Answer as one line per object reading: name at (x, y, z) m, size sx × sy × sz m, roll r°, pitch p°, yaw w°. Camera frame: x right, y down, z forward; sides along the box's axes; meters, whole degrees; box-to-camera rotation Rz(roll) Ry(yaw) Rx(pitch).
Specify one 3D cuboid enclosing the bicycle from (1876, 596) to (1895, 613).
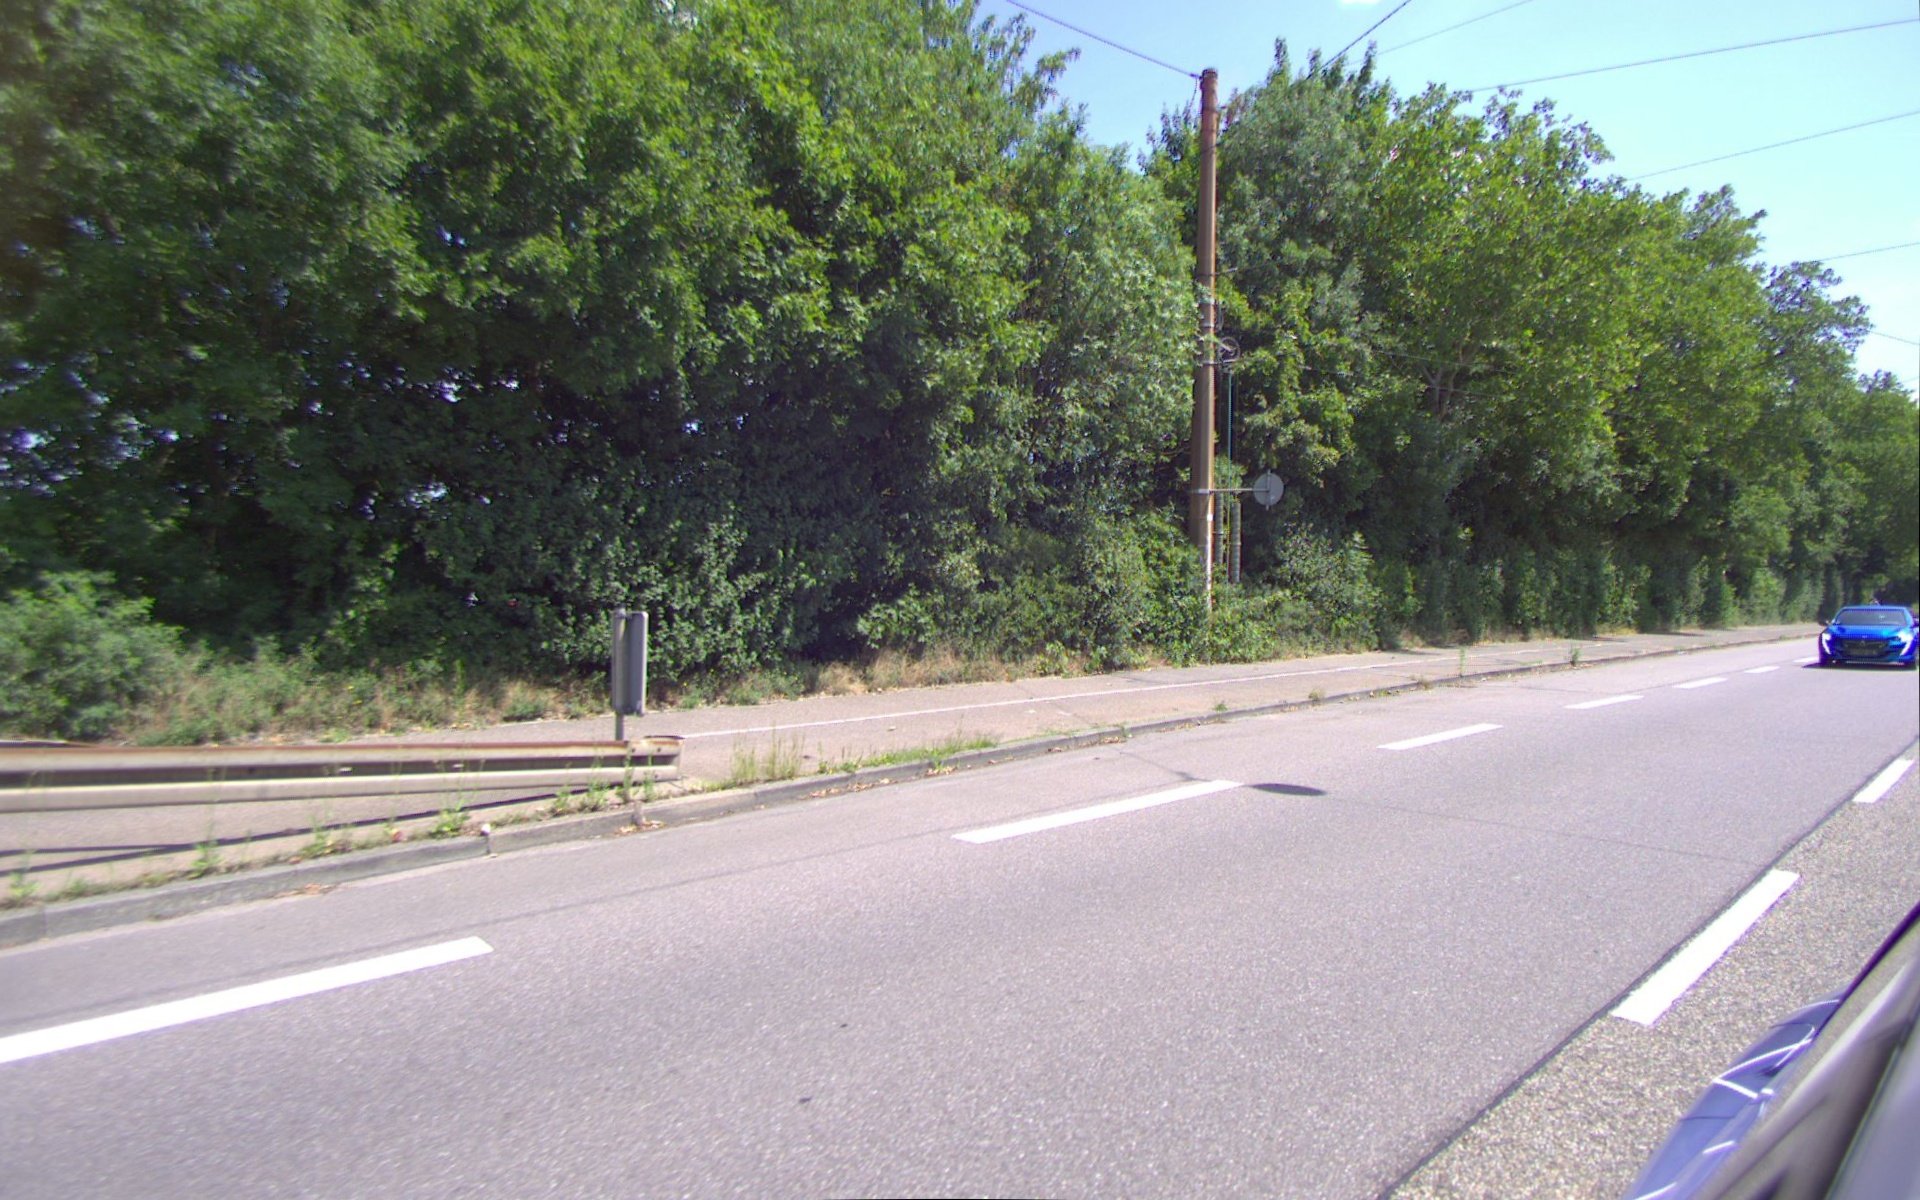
bicycle at (66.456, 0.305, 72.683) m, size 2.493 × 1.152 × 0.710 m, roll 0°, pitch 1°, yaw -41°

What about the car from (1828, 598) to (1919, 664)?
car at (21.929, 0.677, 23.993) m, size 3.680 × 1.423 × 1.657 m, roll -1°, pitch 0°, yaw -43°

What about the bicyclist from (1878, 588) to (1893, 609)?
bicyclist at (66.481, -0.088, 72.706) m, size 0.630 × 1.457 × 0.704 m, roll 1°, pitch 1°, yaw -41°
